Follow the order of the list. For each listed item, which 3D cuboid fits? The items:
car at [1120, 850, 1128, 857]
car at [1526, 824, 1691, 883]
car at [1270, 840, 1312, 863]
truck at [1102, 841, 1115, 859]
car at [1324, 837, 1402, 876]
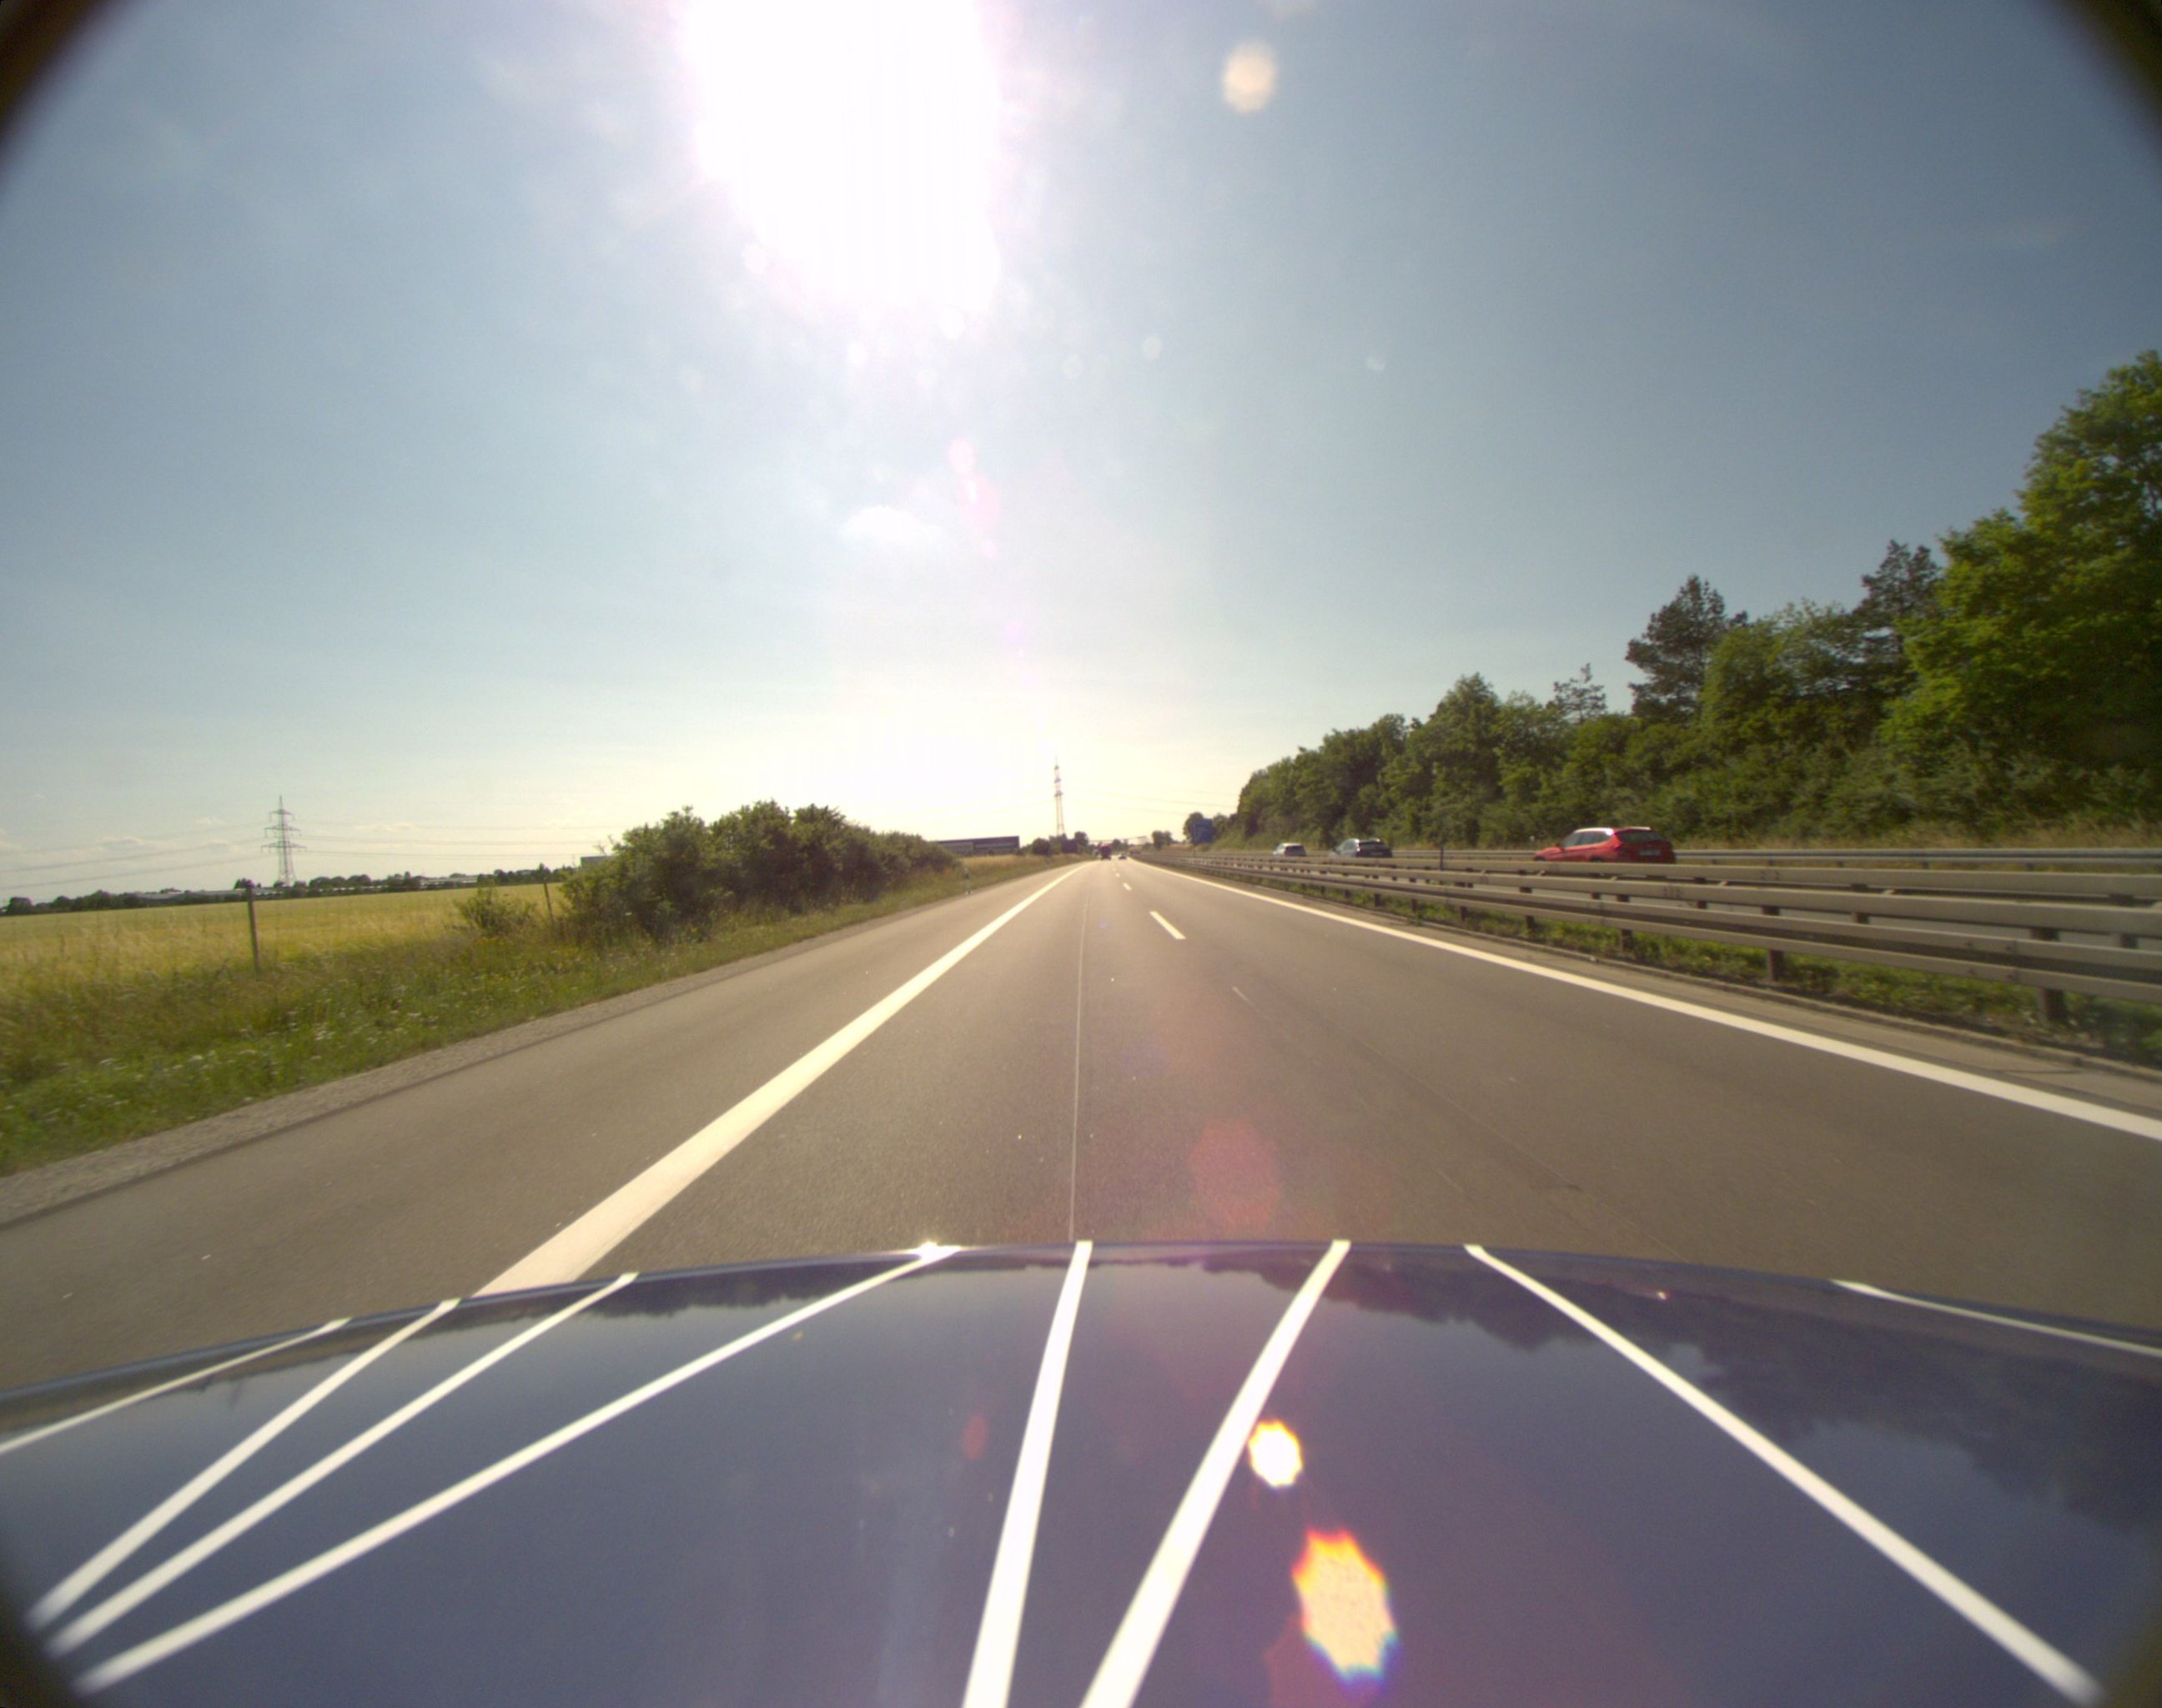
[{"bbox_3d":[9.749,-0.073,171.988,1.860,1.361,4.000,-2,1,3],"label":"car"},{"bbox_3d":[15.161,-0.024,22.189,1.653,1.484,4.539,-3,0,0],"label":"car"},{"bbox_3d":[15.960,-0.225,57.950,1.998,1.603,4.636,-3,0,2],"label":"car"},{"bbox_3d":[6.636,-0.933,183.587,2.570,3.939,8.644,-5,0,2],"label":"truck"},{"bbox_3d":[12.087,0.074,32.866,1.653,1.484,4.539,-3,0,0],"label":"car"}]
